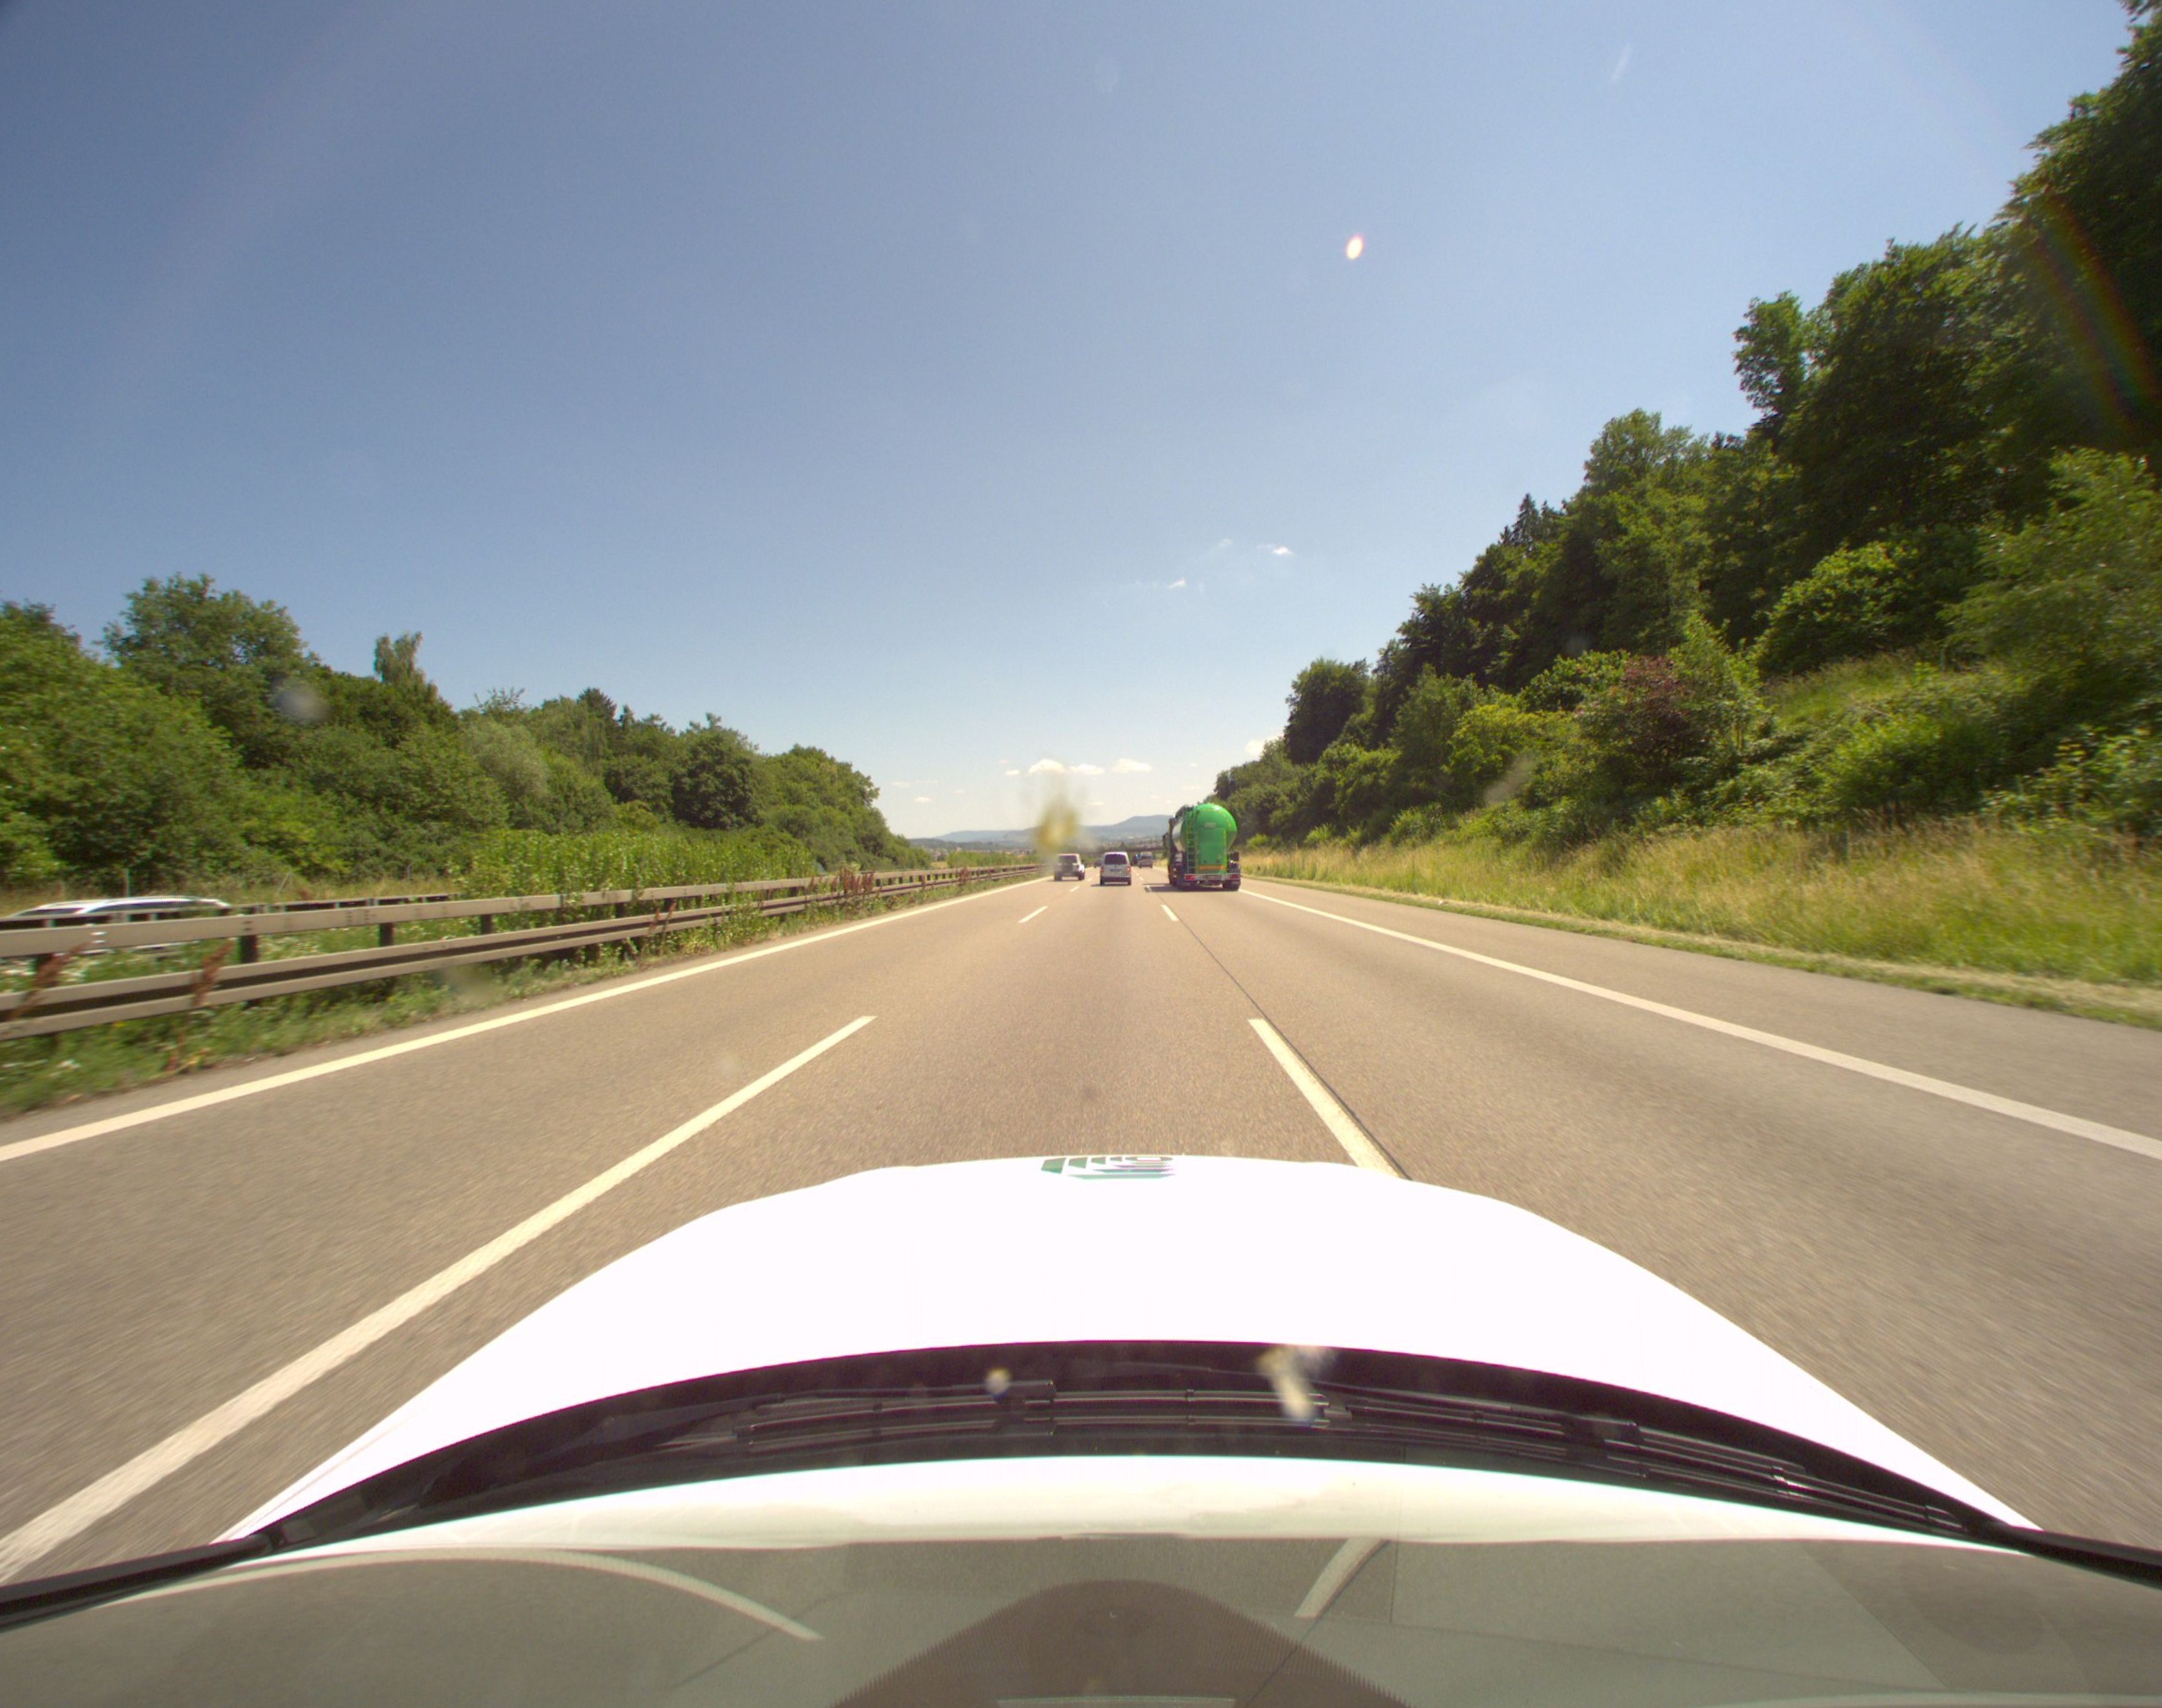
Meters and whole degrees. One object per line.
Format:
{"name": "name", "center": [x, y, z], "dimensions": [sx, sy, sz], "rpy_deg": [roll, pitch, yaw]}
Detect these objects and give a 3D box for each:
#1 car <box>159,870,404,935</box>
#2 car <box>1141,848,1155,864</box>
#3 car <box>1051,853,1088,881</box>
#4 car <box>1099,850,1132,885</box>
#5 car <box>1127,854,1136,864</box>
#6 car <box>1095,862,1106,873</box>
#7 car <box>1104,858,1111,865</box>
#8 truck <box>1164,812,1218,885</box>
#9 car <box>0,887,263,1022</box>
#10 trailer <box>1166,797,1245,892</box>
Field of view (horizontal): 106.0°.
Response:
{"name": "car", "center": [-17.546, 1.011, 18.164], "dimensions": [1.650, 1.206, 3.788], "rpy_deg": [-1, 0, 2]}
{"name": "car", "center": [10.879, 0.292, 132.704], "dimensions": [2.080, 2.576, 6.629], "rpy_deg": [-1, 0, 4]}
{"name": "car", "center": [-0.762, 0.871, 57.213], "dimensions": [2.074, 1.829, 4.759], "rpy_deg": [-1, 0, 5]}
{"name": "car", "center": [1.905, 0.718, 46.122], "dimensions": [1.739, 1.829, 4.802], "rpy_deg": [-1, 0, 1]}
{"name": "car", "center": [8.465, 0.859, 135.987], "dimensions": [1.439, 1.550, 3.362], "rpy_deg": [-1, 0, 6]}
{"name": "car", "center": [3.504, 2.408, 145.900], "dimensions": [1.985, 2.013, 4.003], "rpy_deg": [-1, 0, 3]}
{"name": "car", "center": [7.244, 2.049, 218.859], "dimensions": [1.690, 2.013, 3.826], "rpy_deg": [-1, 0, 4]}
{"name": "truck", "center": [6.045, -0.279, 45.340], "dimensions": [2.500, 3.842, 4.894], "rpy_deg": [-1, 0, 2]}
{"name": "car", "center": [-13.552, 1.264, 10.940], "dimensions": [1.544, 1.479, 3.485], "rpy_deg": [-1, 0, 2]}
{"name": "trailer", "center": [5.875, -0.407, 40.065], "dimensions": [2.577, 4.028, 10.474], "rpy_deg": [-1, 0, 2]}
